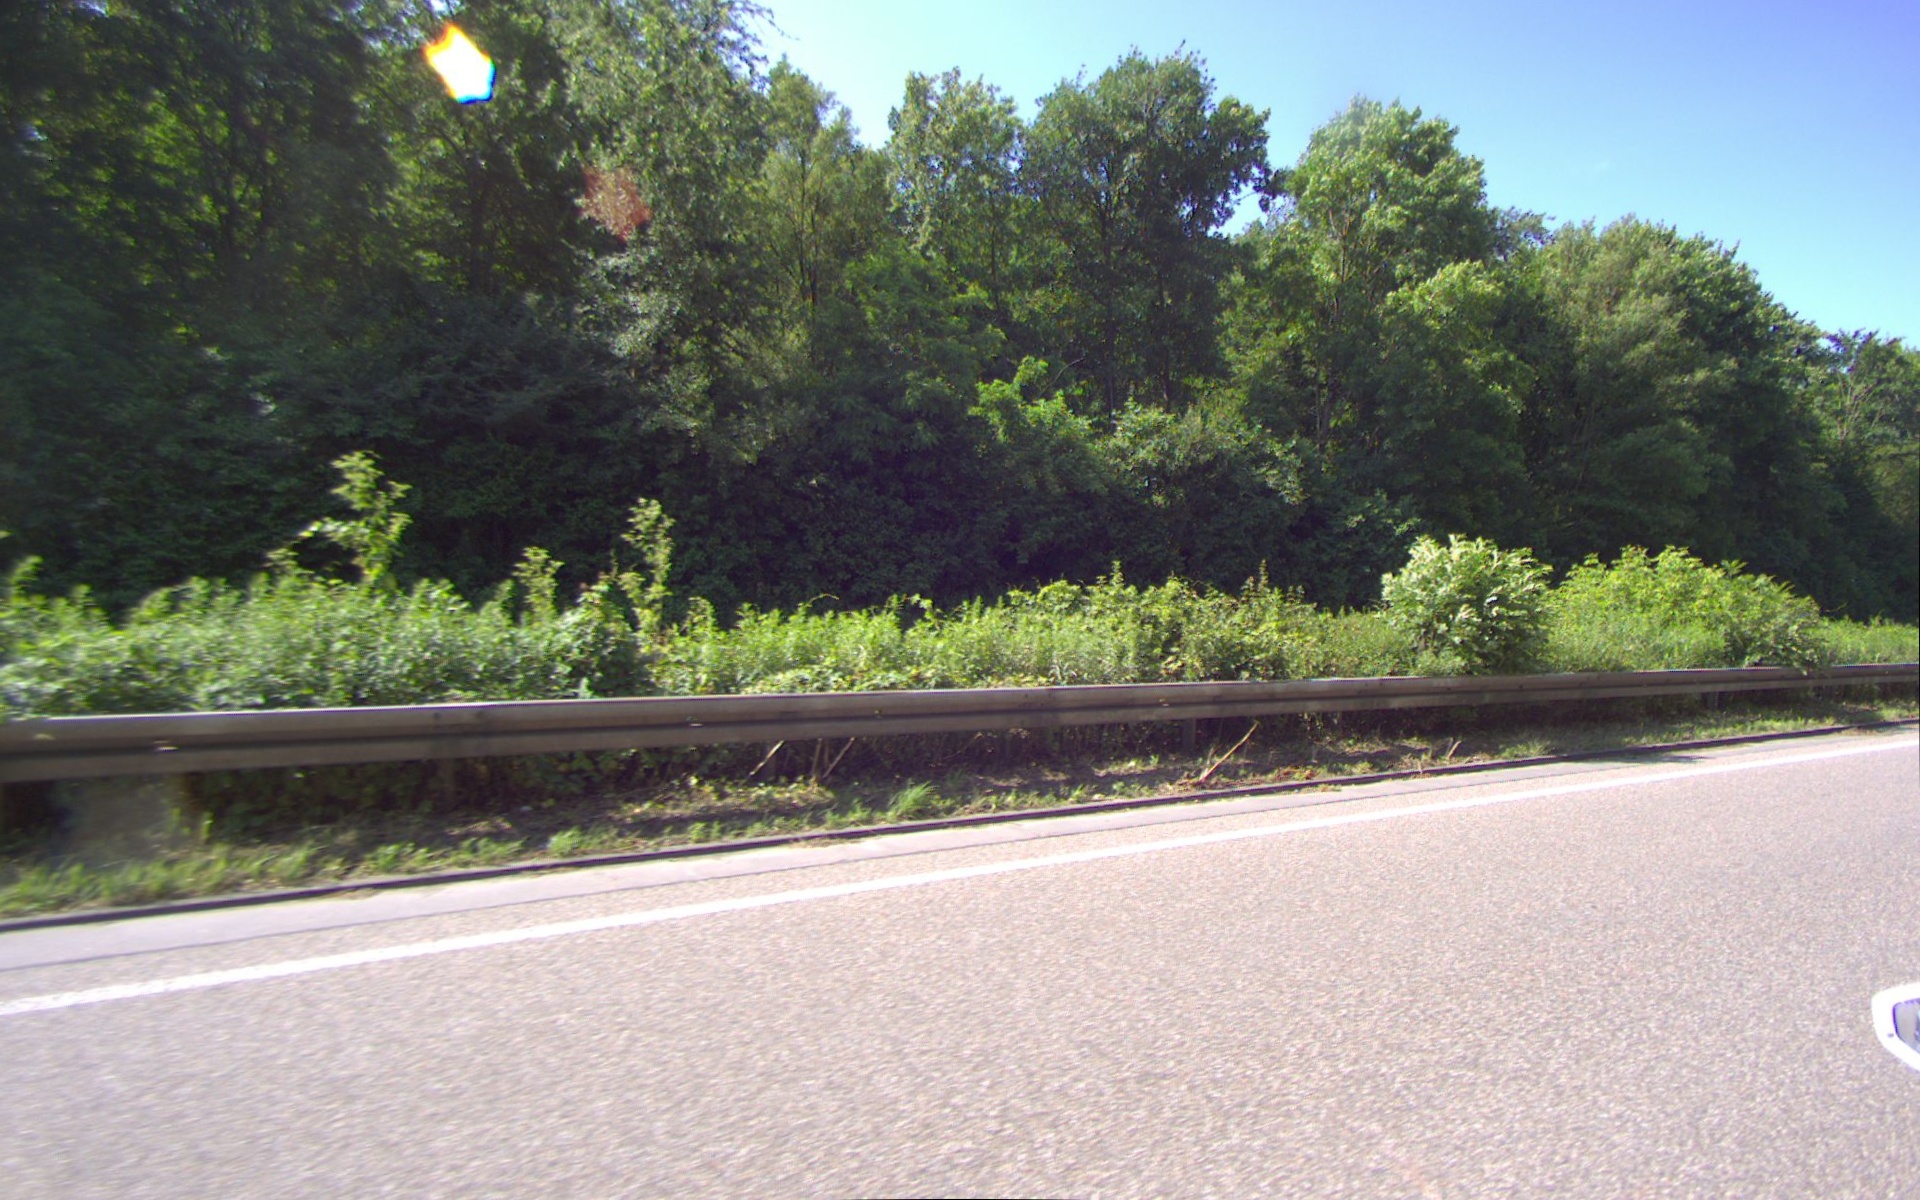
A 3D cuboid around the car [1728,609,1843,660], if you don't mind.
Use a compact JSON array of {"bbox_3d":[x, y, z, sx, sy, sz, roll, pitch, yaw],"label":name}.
[{"bbox_3d":[28.810,1.174,35.010,4.660,1.684,1.684,1,-1,-32],"label":"car"}]
